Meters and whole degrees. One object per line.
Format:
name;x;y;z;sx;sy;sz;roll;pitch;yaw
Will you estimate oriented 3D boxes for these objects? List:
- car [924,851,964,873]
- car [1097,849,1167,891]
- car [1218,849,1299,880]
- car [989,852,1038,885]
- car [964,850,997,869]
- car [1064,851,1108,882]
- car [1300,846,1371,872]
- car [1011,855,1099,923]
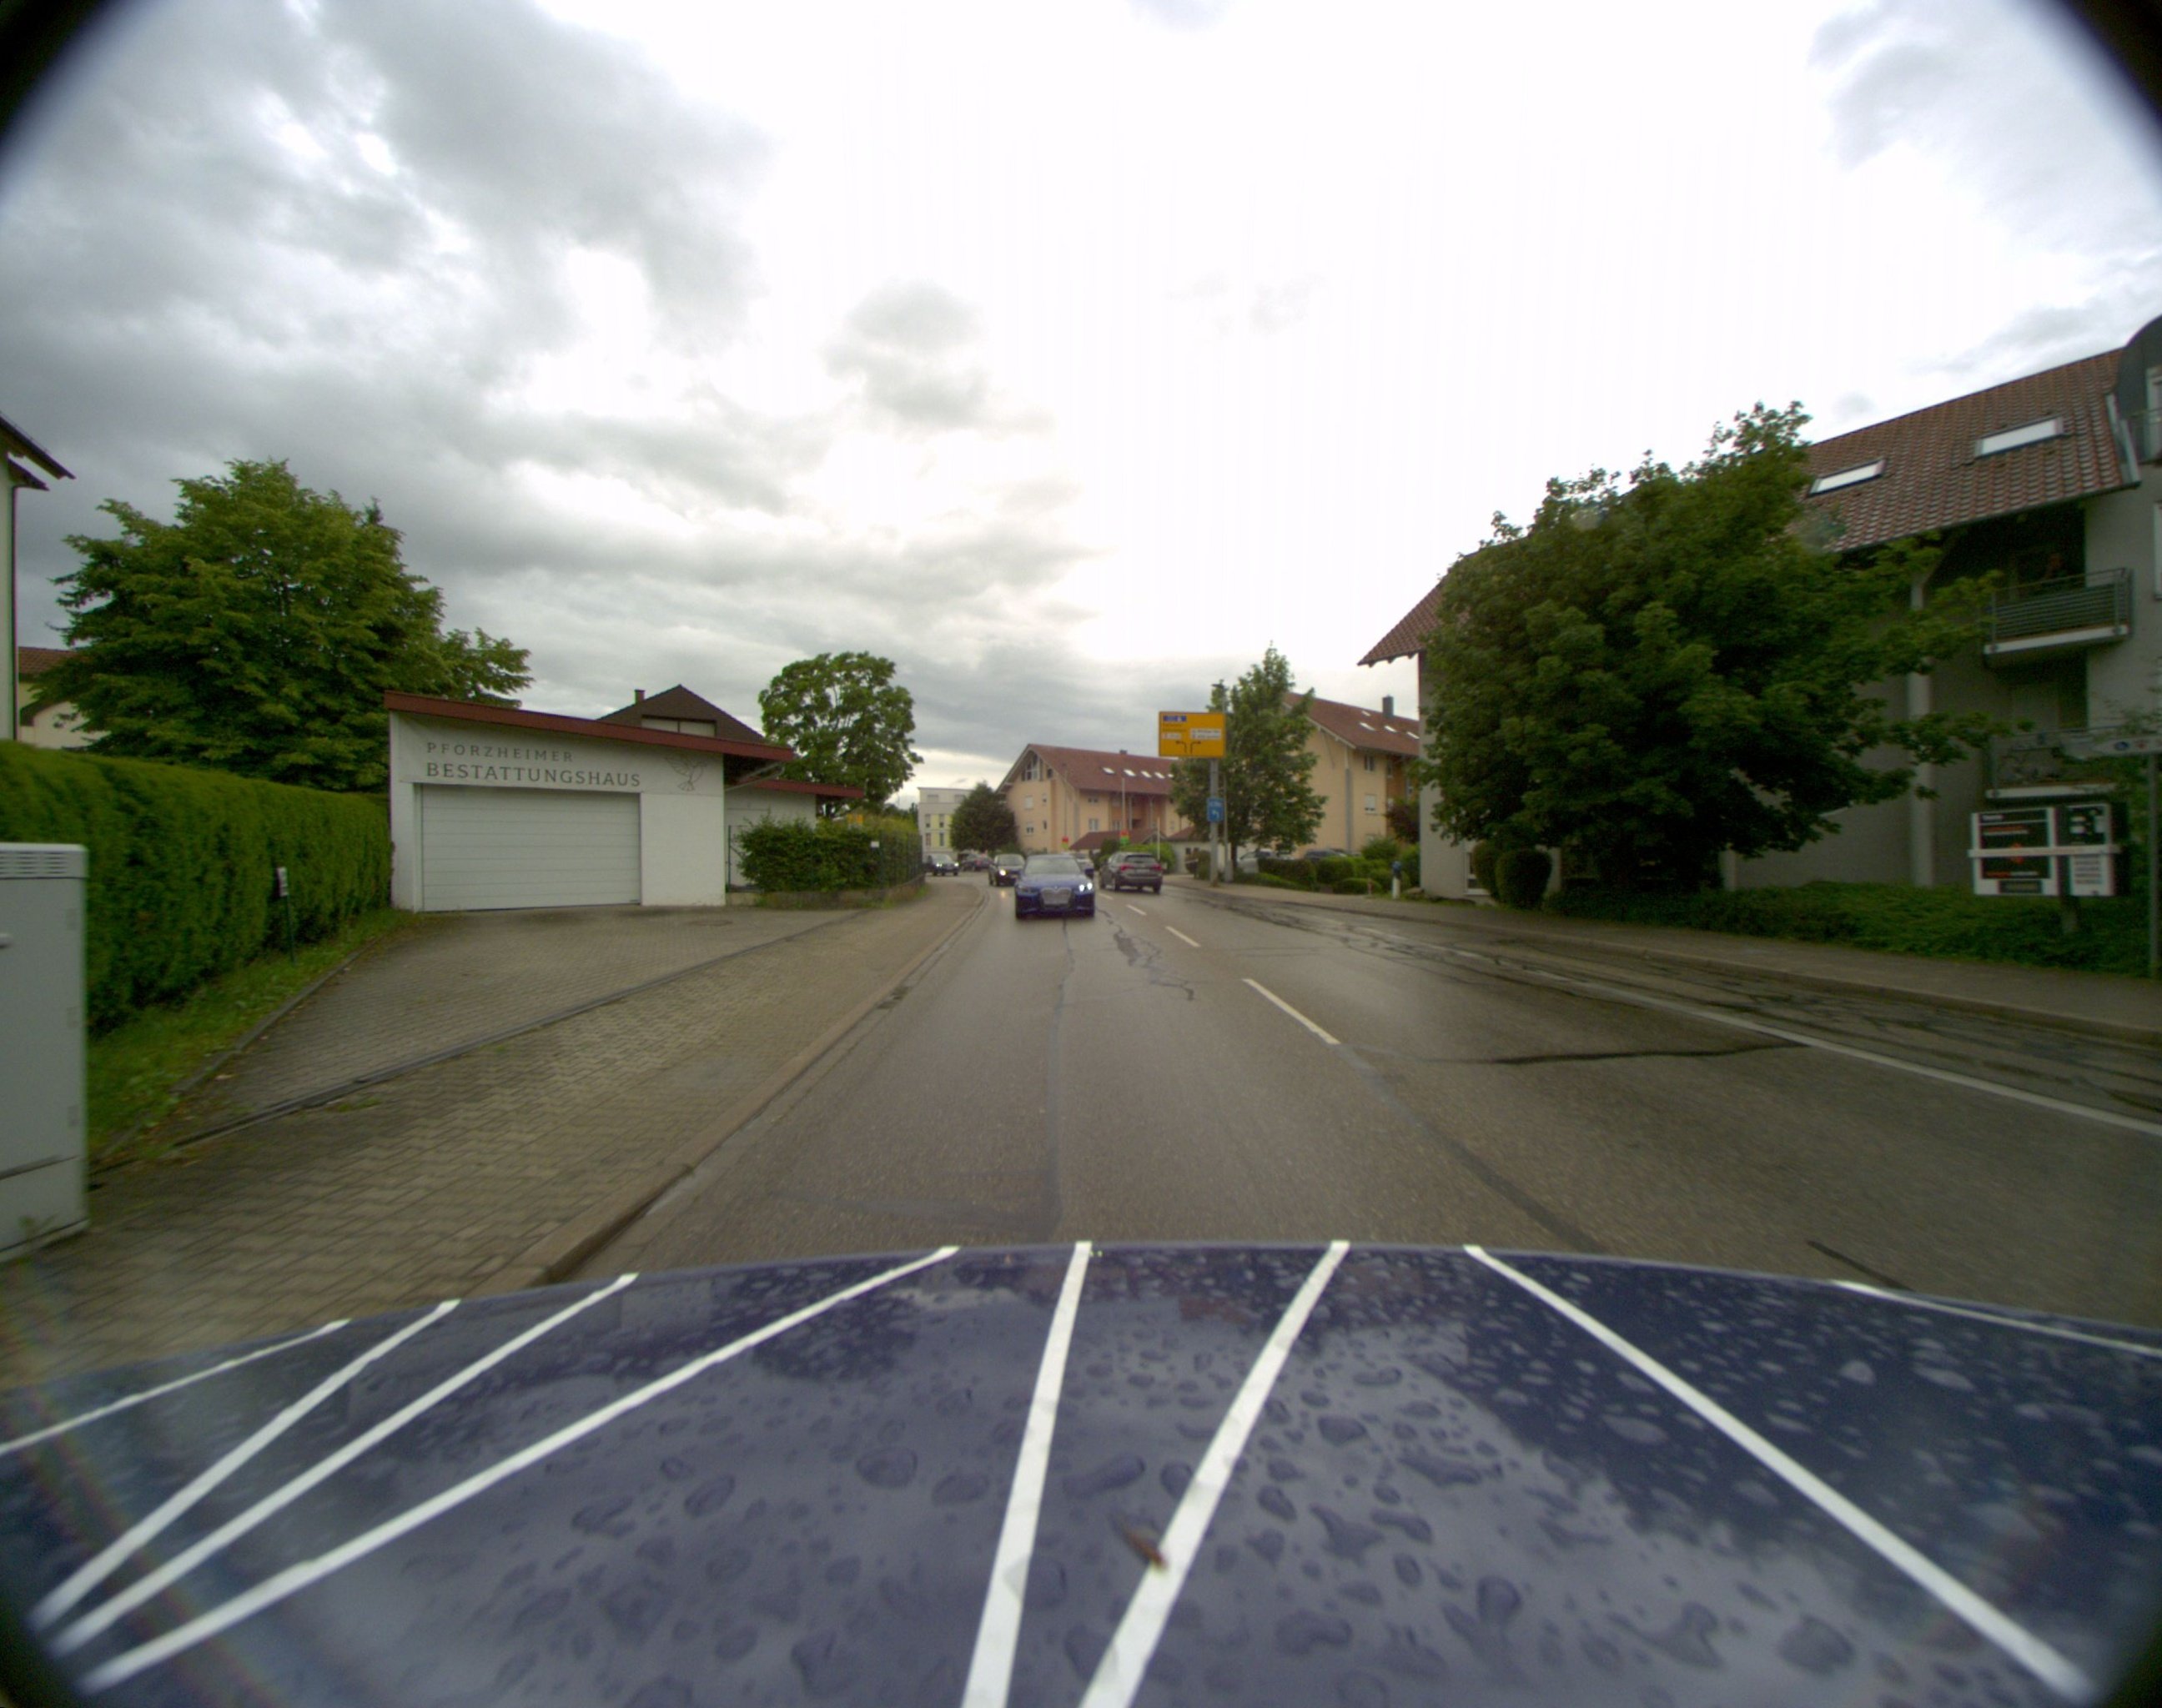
car;-10.241;0.581;56.663;1.844;1.541;3.991;-2;1;-27
car;1.880;0.575;29.326;1.782;1.465;4.247;0;0;-9
car;9.496;0.518;40.876;1.741;1.592;3.988;-1;1;-40
car;-3.356;0.660;37.132;1.842;1.440;3.995;-1;1;-13
car;-9.204;0.485;69.489;1.887;1.686;3.991;0;1;-26
car;0.229;0.622;40.146;1.669;1.516;3.996;0;0;-10
car;14.051;0.261;41.991;1.519;1.373;3.430;-1;1;-40
car;-0.678;0.775;18.980;1.913;1.425;4.299;-1;1;-3
